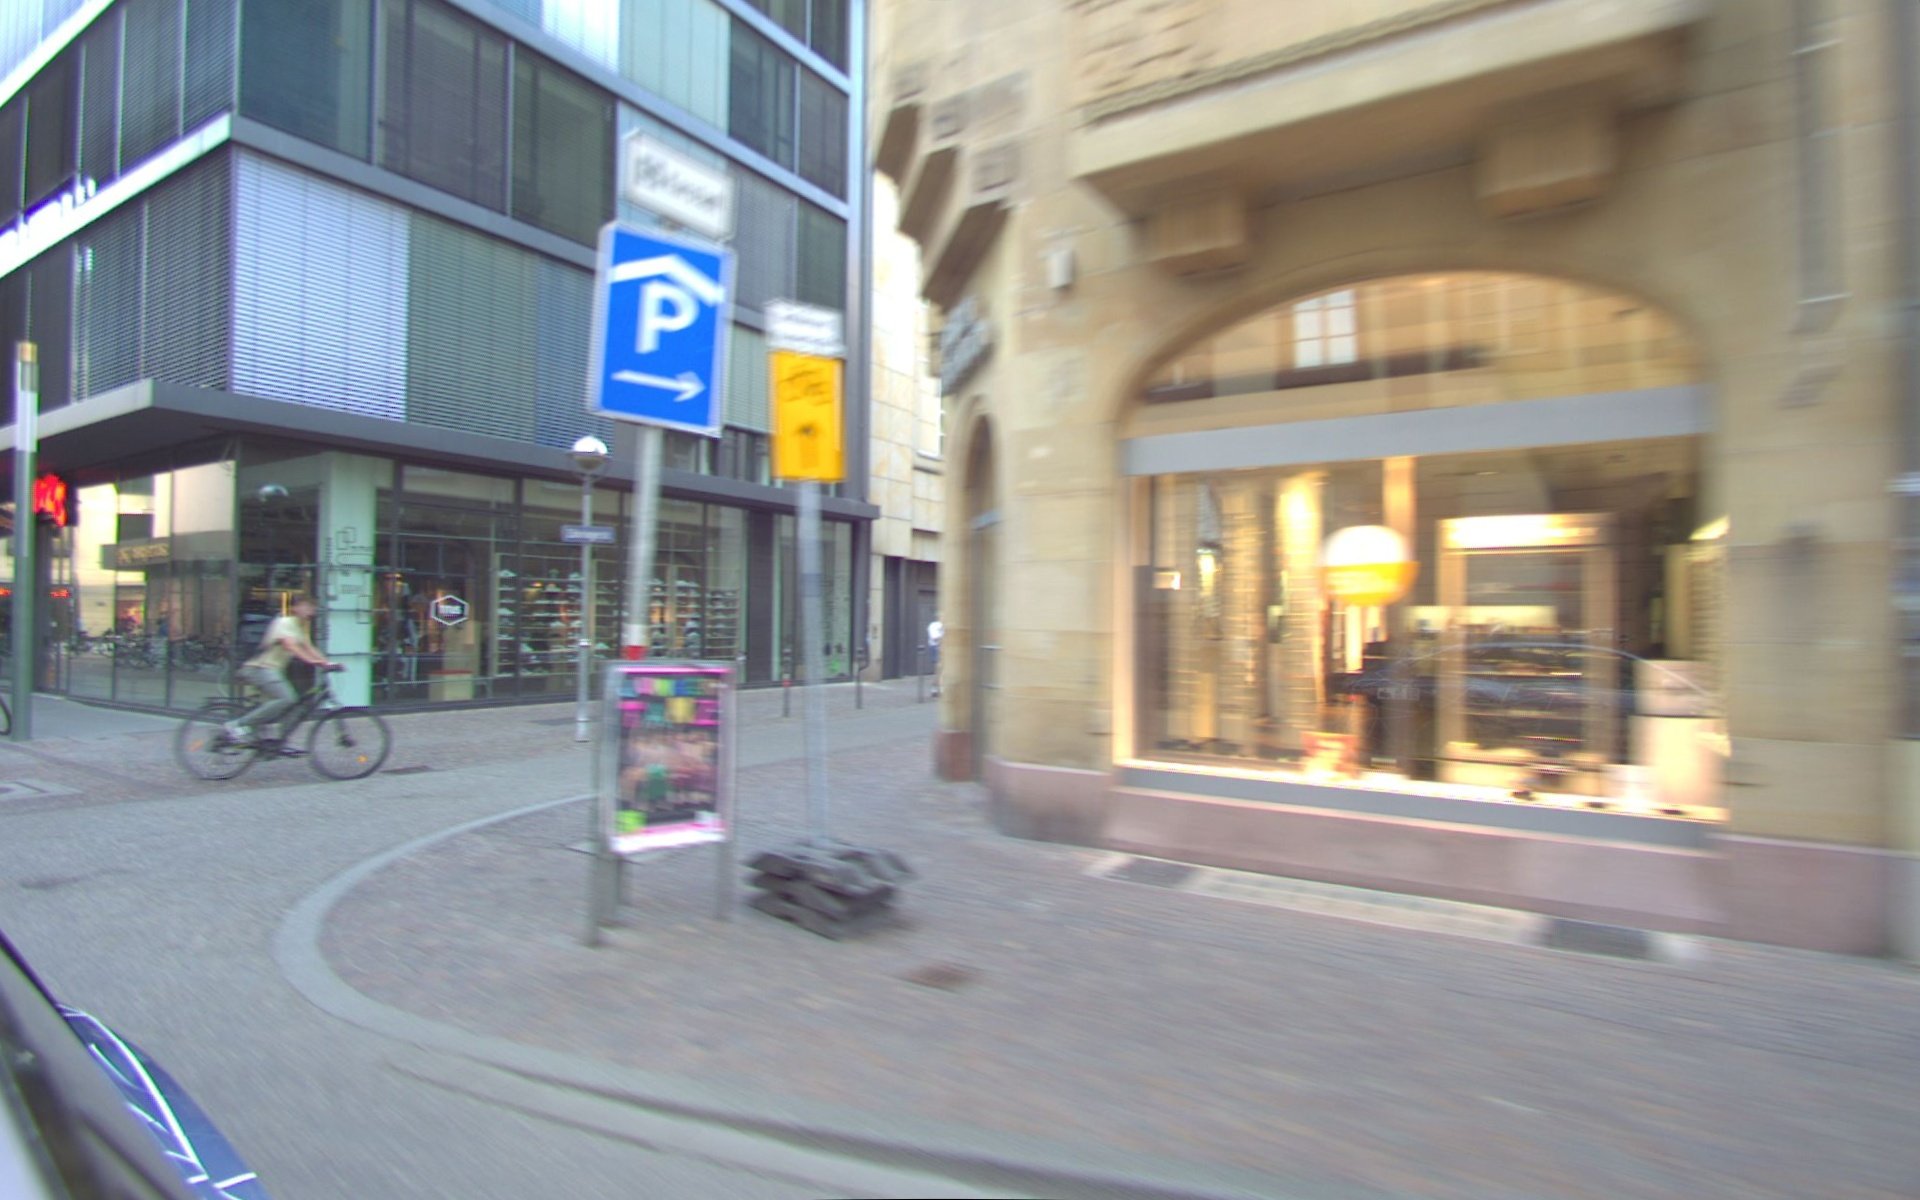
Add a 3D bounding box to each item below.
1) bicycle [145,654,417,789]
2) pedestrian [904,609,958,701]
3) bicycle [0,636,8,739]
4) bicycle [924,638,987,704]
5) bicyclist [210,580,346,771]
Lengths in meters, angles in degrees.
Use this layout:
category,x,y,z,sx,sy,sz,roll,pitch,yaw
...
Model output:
category,x,y,z,sx,sy,sz,roll,pitch,yaw
bicycle,-6.228,1.087,9.412,1.970,1.137,0.702,1,-2,-18
pedestrian,-0.594,1.098,20.446,0.906,1.804,0.605,-1,-2,29
bicycle,-12.000,1.052,11.494,0.508,1.213,1.653,-1,0,32
bicycle,-0.068,1.381,20.156,0.411,1.241,1.808,-1,-2,30
bicyclist,-6.294,0.674,9.388,0.854,1.683,0.678,1,-2,-17
